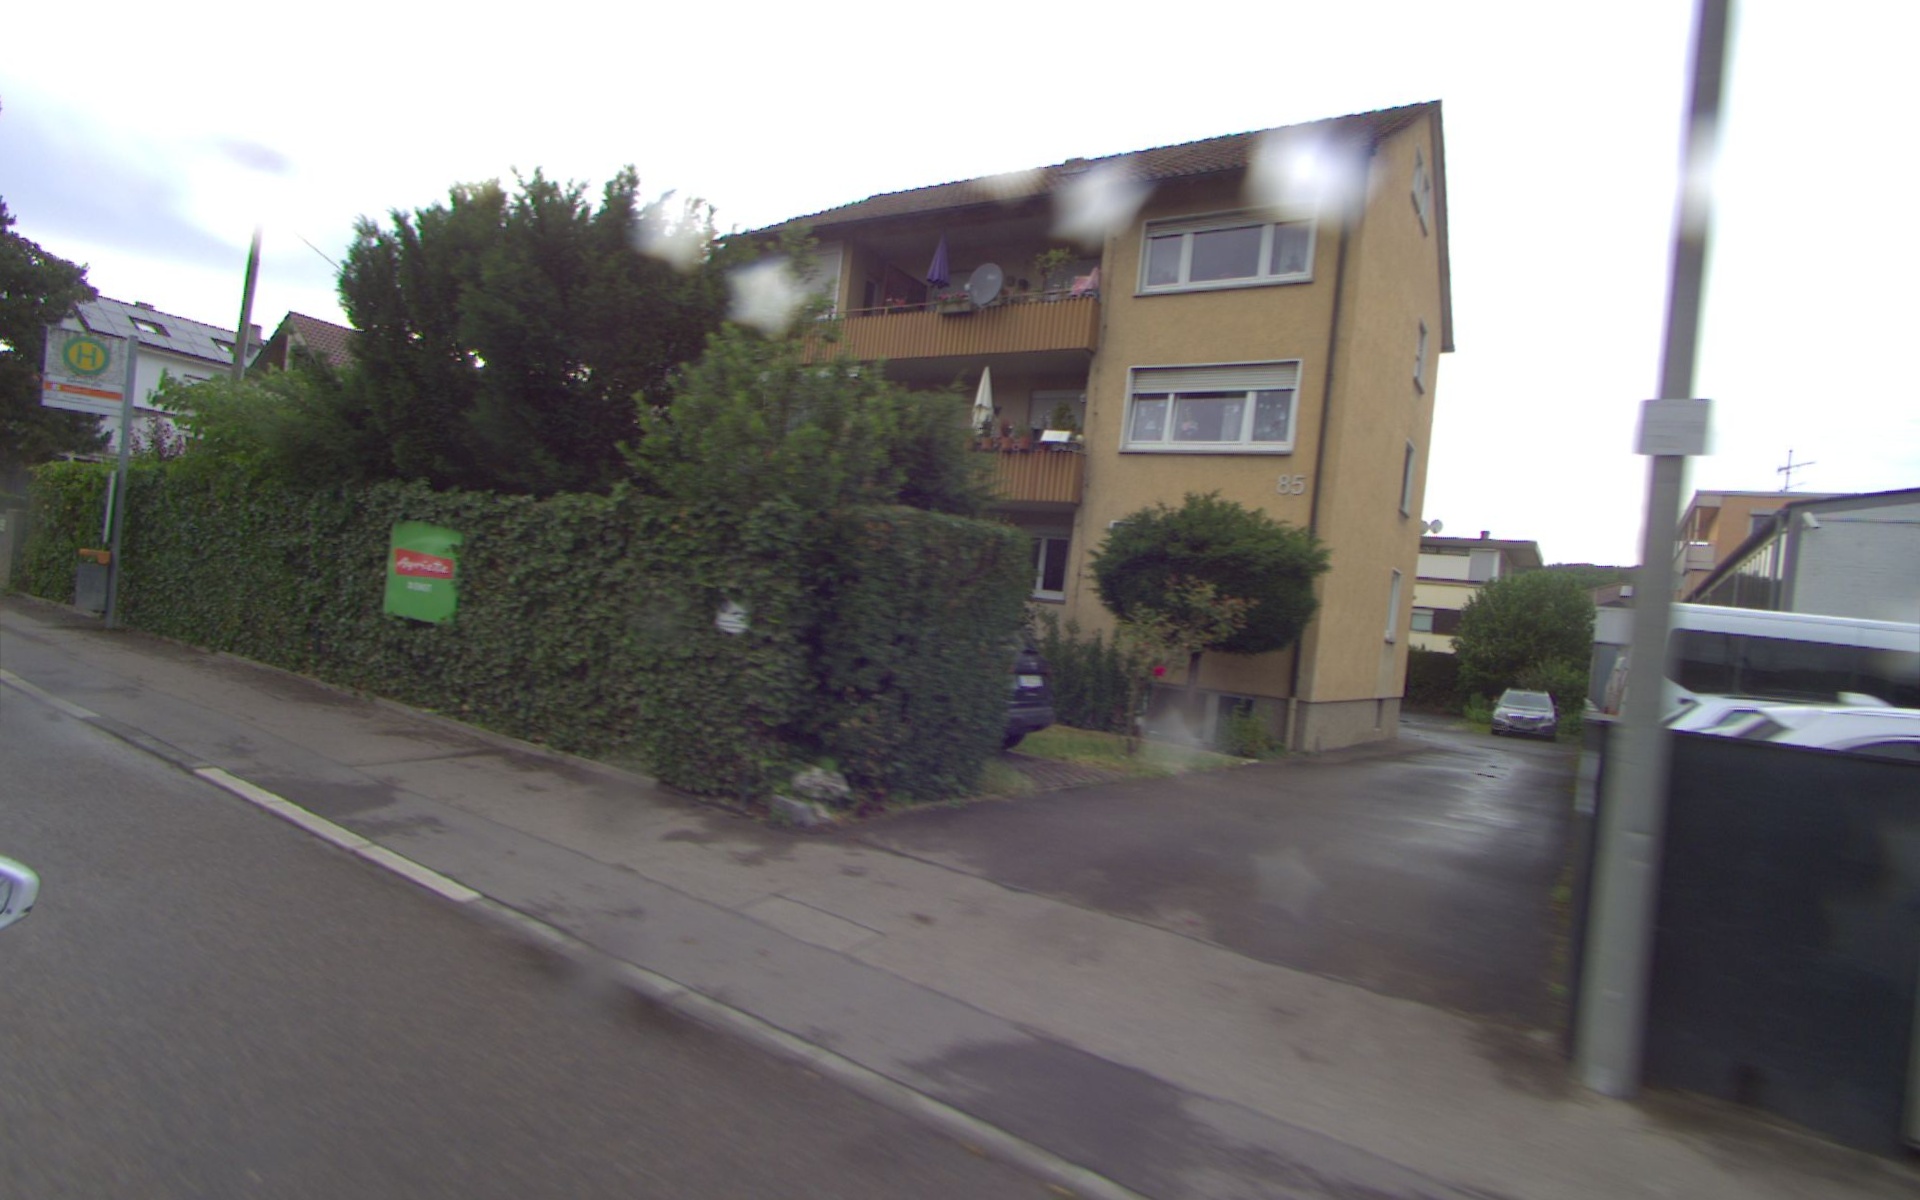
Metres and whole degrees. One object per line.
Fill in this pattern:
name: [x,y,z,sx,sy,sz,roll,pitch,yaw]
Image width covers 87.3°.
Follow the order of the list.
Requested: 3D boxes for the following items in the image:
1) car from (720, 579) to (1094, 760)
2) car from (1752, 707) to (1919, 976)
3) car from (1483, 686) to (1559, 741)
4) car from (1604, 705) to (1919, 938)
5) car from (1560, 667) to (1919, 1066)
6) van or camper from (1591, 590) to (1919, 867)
car: [-0.694,0.701,11.210,3.942,1.565,1.661,3,-3,38]
car: [7.826,1.787,6.482,4.047,1.668,1.881,3,-5,44]
car: [18.461,3.662,33.017,1.778,1.491,3.988,4,-1,34]
car: [8.719,2.062,8.846,4.759,1.668,2.086,3,-5,44]
car: [5.911,1.419,4.462,5.170,1.668,2.118,3,-5,44]
van or camper: [10.584,1.465,11.000,5.932,2.711,2.058,3,-2,38]
